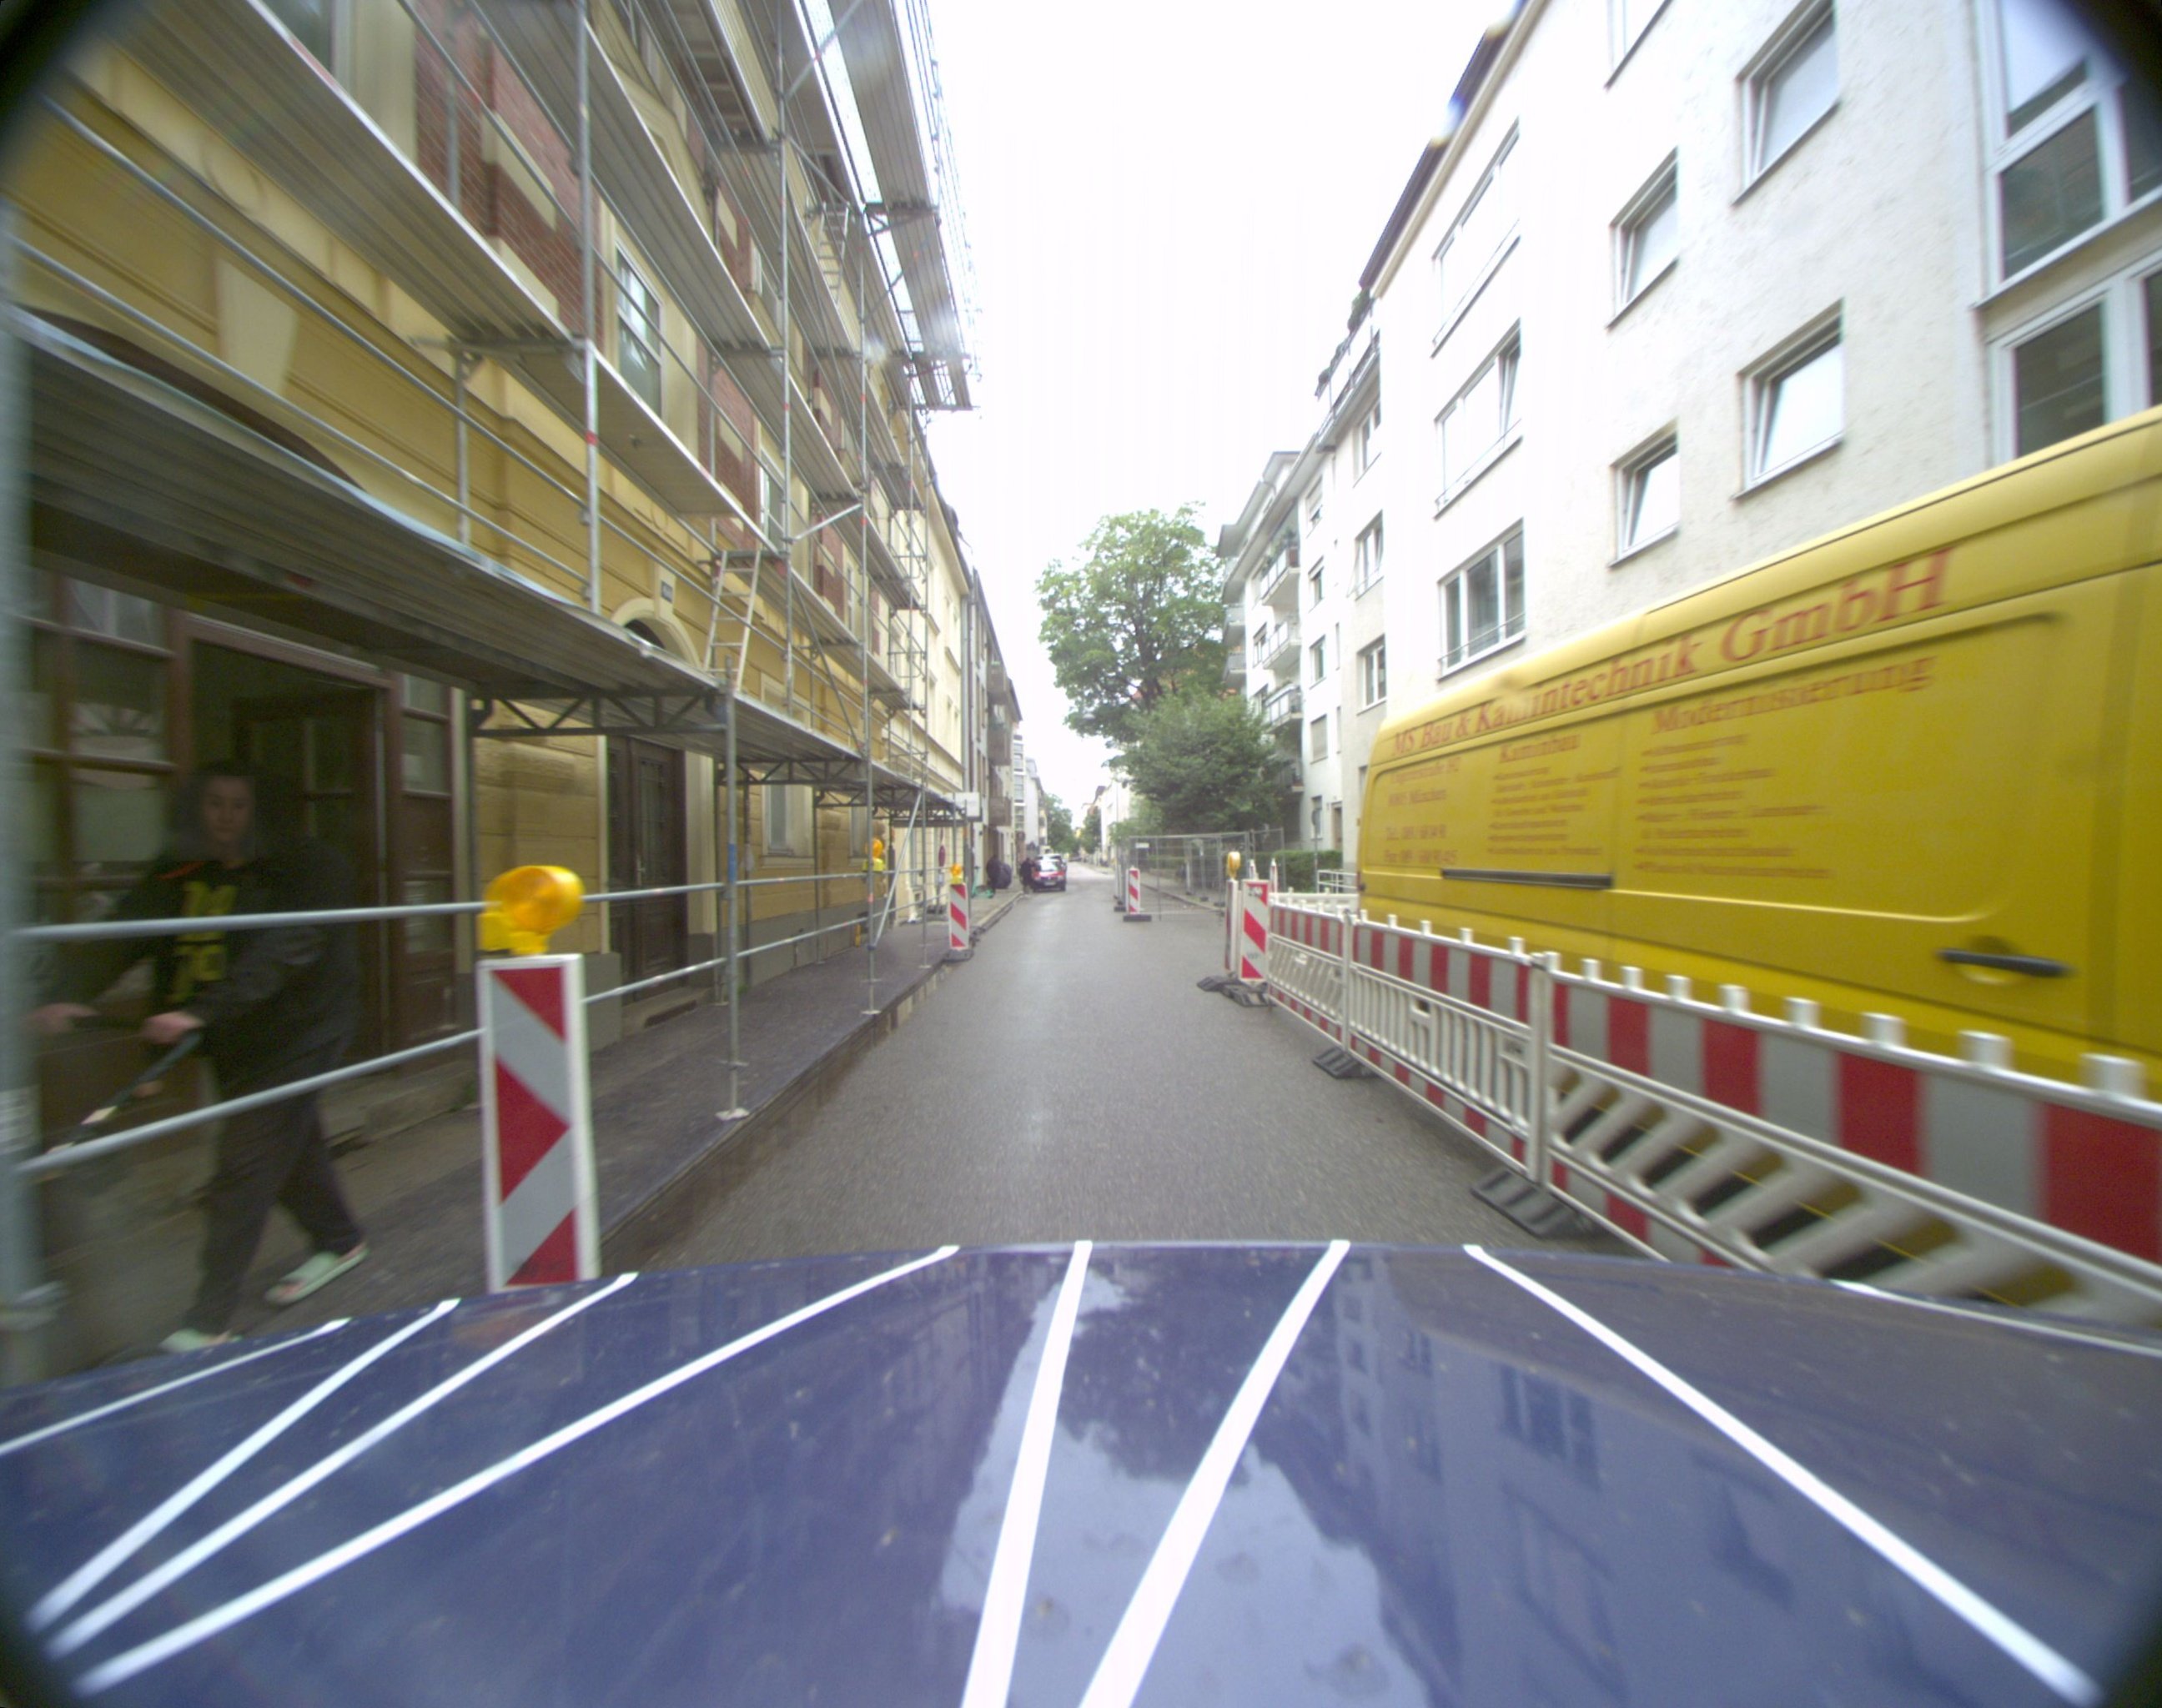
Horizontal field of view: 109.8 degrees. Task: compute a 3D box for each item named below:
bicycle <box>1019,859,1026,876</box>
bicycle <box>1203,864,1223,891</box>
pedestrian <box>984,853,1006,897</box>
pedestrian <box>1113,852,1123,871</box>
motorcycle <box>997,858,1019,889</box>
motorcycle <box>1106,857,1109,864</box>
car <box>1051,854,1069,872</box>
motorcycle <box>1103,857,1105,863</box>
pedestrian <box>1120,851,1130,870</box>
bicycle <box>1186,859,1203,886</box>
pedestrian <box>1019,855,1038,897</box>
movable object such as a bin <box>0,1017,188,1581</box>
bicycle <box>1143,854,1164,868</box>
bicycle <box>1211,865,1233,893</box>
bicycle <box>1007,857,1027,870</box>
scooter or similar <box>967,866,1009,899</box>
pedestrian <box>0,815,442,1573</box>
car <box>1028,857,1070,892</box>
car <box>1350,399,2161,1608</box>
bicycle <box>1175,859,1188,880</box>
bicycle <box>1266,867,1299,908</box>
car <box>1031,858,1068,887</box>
[{"bbox_3d":[-4.393,1.020,57.375,0.411,1.207,1.818,1,1,-1],"label":"bicycle"},{"bbox_3d":[5.433,0.942,31.245,0.445,0.973,1.853,-4,1,0],"label":"bicycle"},{"bbox_3d":[-3.357,0.817,29.755,0.660,1.676,0.587,1,1,11],"label":"pedestrian"},{"bbox_3d":[3.447,0.669,71.531,0.722,1.718,0.841,-5,1,-1],"label":"pedestrian"},{"bbox_3d":[-3.579,0.939,37.552,0.807,1.415,1.932,4,0,0],"label":"motorcycle"},{"bbox_3d":[3.853,0.938,112.405,0.324,0.968,1.960,-2,0,-1],"label":"motorcycle"},{"bbox_3d":[-2.108,0.857,75.343,1.725,1.606,4.453,-2,0,-3],"label":"car"},{"bbox_3d":[3.694,1.008,121.999,0.324,0.968,1.960,-2,0,-1],"label":"motorcycle"},{"bbox_3d":[4.169,0.621,71.609,0.695,1.718,0.841,-5,1,-1],"label":"pedestrian"},{"bbox_3d":[5.263,0.826,35.268,0.489,1.145,1.698,-4,1,0],"label":"bicycle"},{"bbox_3d":[-2.170,0.904,31.524,0.660,1.676,0.546,-2,0,4],"label":"pedestrian"},{"bbox_3d":[-2.663,0.984,1.440,0.731,1.134,0.988,3,0,-2],"label":"movable object such as a bin"},{"bbox_3d":[6.750,0.690,70.849,1.811,1.253,0.432,-1,1,-2],"label":"bicycle"},{"bbox_3d":[5.438,0.954,29.379,0.445,0.973,1.815,-4,1,0],"label":"bicycle"},{"bbox_3d":[-6.019,0.919,71.534,1.872,1.222,0.594,0,1,28],"label":"bicycle"},{"bbox_3d":[-3.417,1.050,28.095,0.493,1.176,1.611,2,0,39],"label":"scooter or similar"},{"bbox_3d":[-2.688,0.779,2.233,0.731,1.742,0.988,3,0,-2],"label":"pedestrian"},{"bbox_3d":[-1.510,0.954,37.364,1.776,1.515,4.066,-3,0,1],"label":"car"},{"bbox_3d":[3.255,0.316,2.731,1.999,2.563,6.735,-1,0,-2],"label":"car"},{"bbox_3d":[5.358,0.838,40.727,0.347,1.065,1.780,-5,0,-1],"label":"bicycle"},{"bbox_3d":[5.656,0.929,21.441,0.378,1.057,1.597,-7,0,0],"label":"bicycle"},{"bbox_3d":[-1.729,0.991,42.601,1.773,1.452,4.380,-3,0,0],"label":"car"}]
